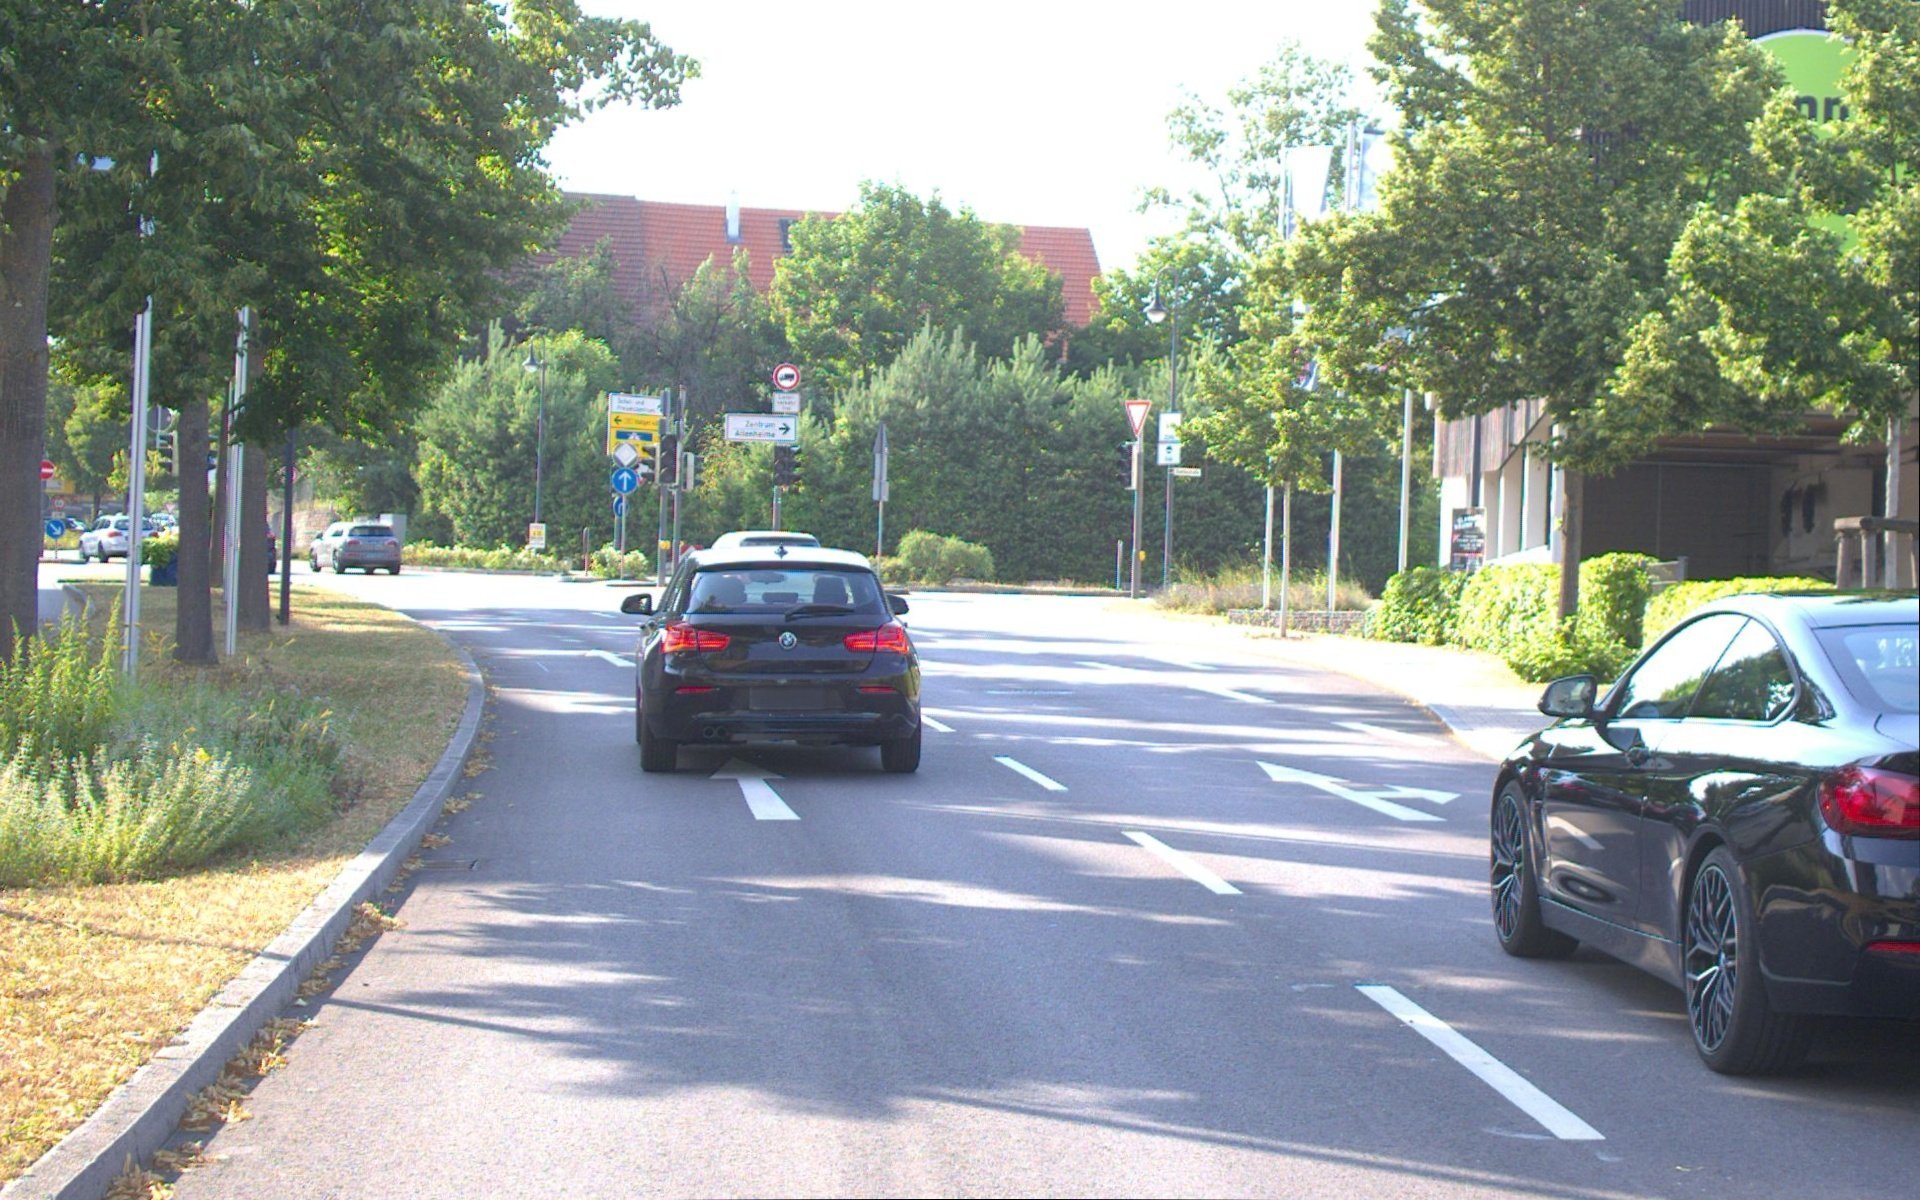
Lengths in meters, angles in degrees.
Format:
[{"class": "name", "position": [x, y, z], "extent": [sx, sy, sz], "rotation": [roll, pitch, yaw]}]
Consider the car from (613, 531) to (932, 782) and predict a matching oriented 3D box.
[{"class": "car", "position": [-1.352, 0.307, 23.024], "extent": [1.720, 1.485, 4.354], "rotation": [1, 1, -8]}]

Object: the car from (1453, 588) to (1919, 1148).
[{"class": "car", "position": [2.923, 0.677, 10.848], "extent": [1.920, 1.359, 4.353], "rotation": [1, 1, -2]}]

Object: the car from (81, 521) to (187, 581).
[{"class": "car", "position": [-26.206, -1.576, 108.936], "extent": [2.258, 1.669, 4.589], "rotation": [3, 1, -26]}]

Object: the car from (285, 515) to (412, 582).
[{"class": "car", "position": [-17.202, -1.457, 96.556], "extent": [2.258, 1.669, 4.589], "rotation": [3, 1, -26]}]

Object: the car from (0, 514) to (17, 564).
[{"class": "car", "position": [-36.026, -2.246, 125.031], "extent": [2.217, 1.763, 4.454], "rotation": [0, 1, -31]}]

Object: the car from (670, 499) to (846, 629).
[{"class": "car", "position": [-2.968, -0.538, 49.645], "extent": [1.924, 1.763, 4.456], "rotation": [1, 1, -11]}]
